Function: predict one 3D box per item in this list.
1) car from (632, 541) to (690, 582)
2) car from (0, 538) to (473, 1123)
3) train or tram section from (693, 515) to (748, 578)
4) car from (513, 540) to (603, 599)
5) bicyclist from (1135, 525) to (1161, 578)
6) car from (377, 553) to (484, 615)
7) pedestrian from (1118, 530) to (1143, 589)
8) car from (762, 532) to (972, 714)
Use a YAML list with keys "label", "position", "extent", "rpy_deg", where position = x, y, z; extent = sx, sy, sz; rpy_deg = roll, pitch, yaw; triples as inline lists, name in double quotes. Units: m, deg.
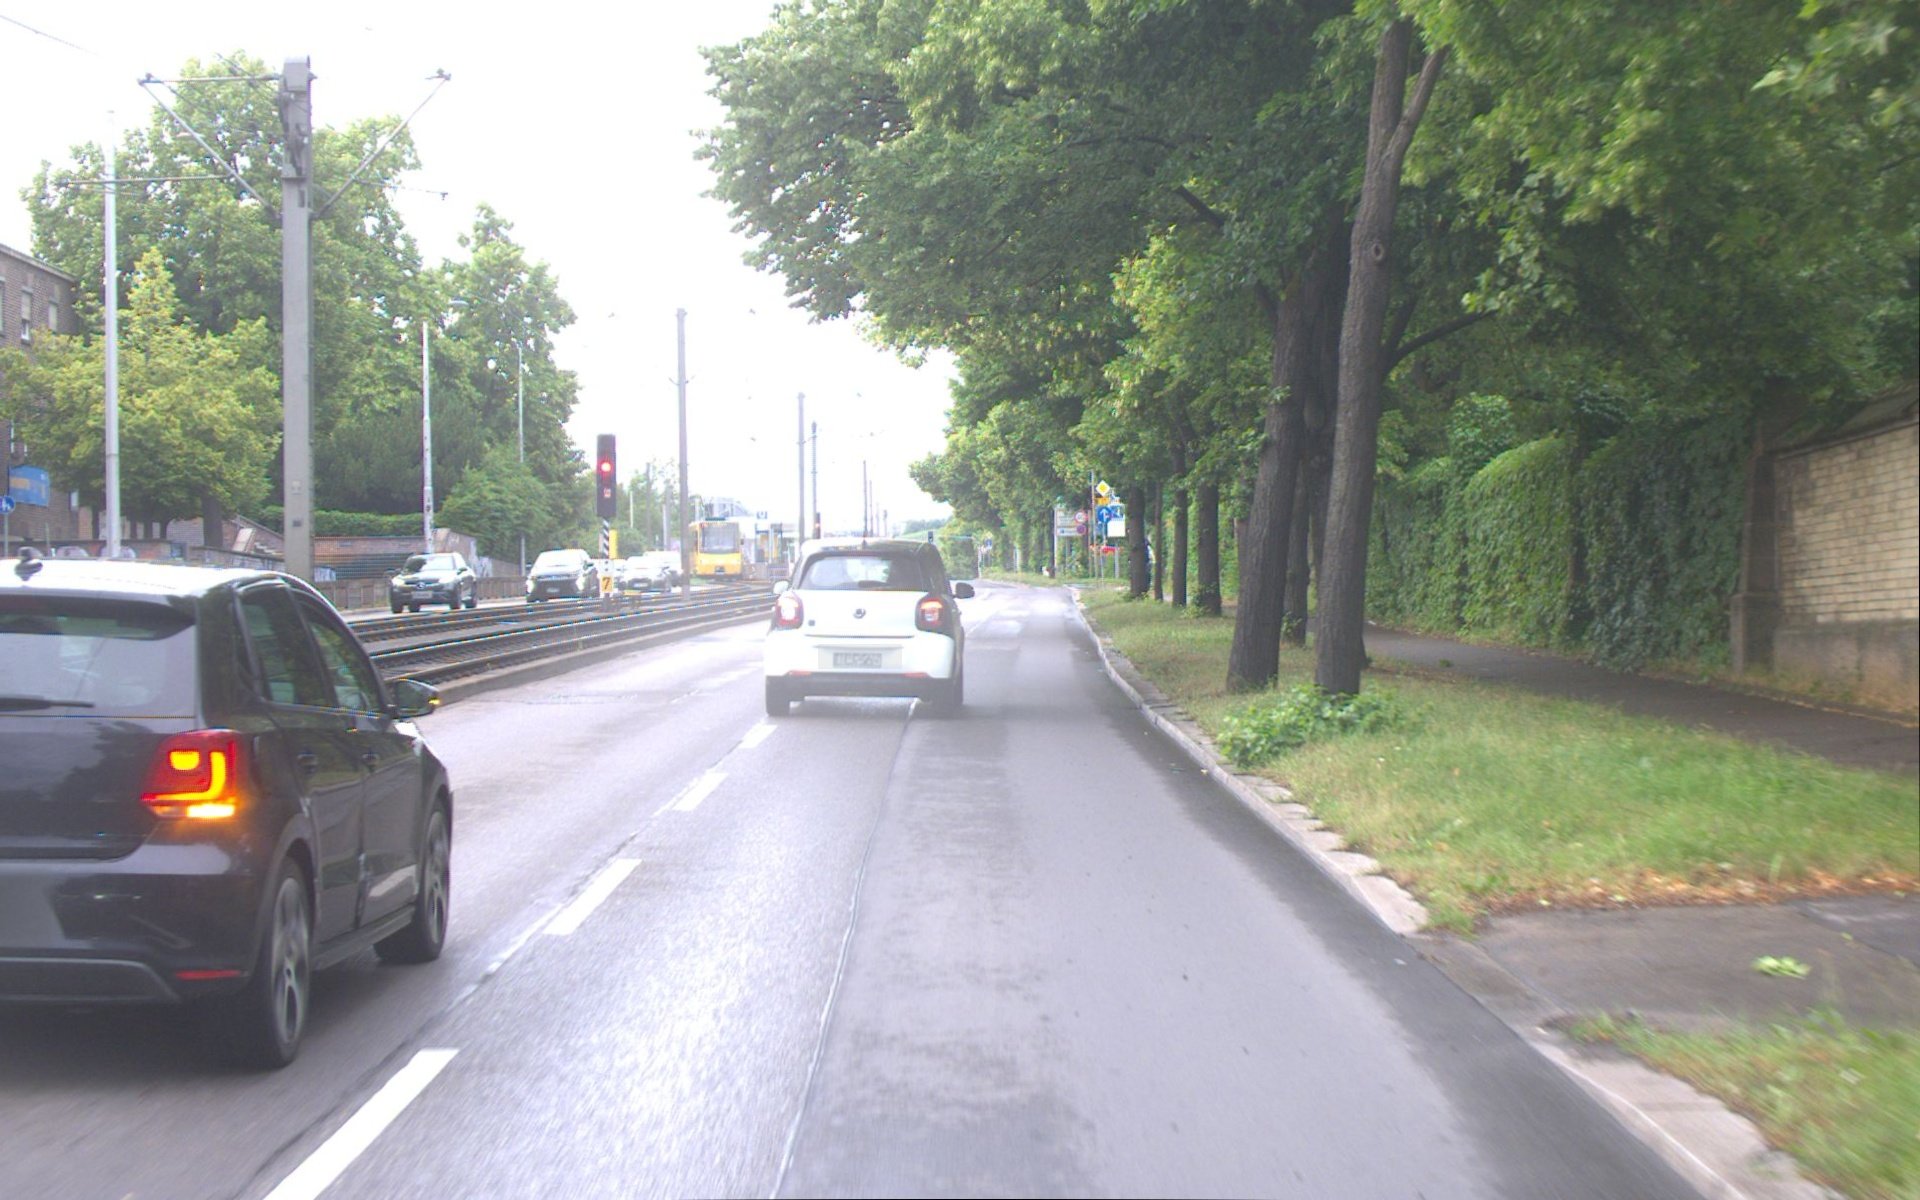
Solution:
- label: "car"
  position: [-10.923, -1.422, 125.808]
  extent: [1.681, 1.456, 3.608]
  rpy_deg: [0, 1, 2]
- label: "car"
  position: [-2.702, 0.570, 10.981]
  extent: [1.794, 1.480, 3.965]
  rpy_deg: [1, 1, -1]
- label: "train or tram section"
  position: [-14.037, -3.142, 200.905]
  extent: [2.831, 3.593, 9.273]
  rpy_deg: [1, 1, -6]
- label: "car"
  position: [-11.656, -0.906, 99.898]
  extent: [1.835, 1.650, 4.239]
  rpy_deg: [0, 1, 4]
- label: "bicyclist"
  position: [5.809, -1.498, 106.071]
  extent: [0.763, 1.610, 0.999]
  rpy_deg: [0, 1, 1]
- label: "car"
  position: [-14.877, -0.467, 96.752]
  extent: [2.013, 1.650, 4.616]
  rpy_deg: [0, 1, 4]
- label: "pedestrian"
  position: [8.601, -2.039, 173.259]
  extent: [1.164, 2.967, 0.948]
  rpy_deg: [1, 1, 1]
- label: "car"
  position: [-0.777, 0.211, 30.834]
  extent: [1.676, 1.526, 3.721]
  rpy_deg: [0, 0, 1]
